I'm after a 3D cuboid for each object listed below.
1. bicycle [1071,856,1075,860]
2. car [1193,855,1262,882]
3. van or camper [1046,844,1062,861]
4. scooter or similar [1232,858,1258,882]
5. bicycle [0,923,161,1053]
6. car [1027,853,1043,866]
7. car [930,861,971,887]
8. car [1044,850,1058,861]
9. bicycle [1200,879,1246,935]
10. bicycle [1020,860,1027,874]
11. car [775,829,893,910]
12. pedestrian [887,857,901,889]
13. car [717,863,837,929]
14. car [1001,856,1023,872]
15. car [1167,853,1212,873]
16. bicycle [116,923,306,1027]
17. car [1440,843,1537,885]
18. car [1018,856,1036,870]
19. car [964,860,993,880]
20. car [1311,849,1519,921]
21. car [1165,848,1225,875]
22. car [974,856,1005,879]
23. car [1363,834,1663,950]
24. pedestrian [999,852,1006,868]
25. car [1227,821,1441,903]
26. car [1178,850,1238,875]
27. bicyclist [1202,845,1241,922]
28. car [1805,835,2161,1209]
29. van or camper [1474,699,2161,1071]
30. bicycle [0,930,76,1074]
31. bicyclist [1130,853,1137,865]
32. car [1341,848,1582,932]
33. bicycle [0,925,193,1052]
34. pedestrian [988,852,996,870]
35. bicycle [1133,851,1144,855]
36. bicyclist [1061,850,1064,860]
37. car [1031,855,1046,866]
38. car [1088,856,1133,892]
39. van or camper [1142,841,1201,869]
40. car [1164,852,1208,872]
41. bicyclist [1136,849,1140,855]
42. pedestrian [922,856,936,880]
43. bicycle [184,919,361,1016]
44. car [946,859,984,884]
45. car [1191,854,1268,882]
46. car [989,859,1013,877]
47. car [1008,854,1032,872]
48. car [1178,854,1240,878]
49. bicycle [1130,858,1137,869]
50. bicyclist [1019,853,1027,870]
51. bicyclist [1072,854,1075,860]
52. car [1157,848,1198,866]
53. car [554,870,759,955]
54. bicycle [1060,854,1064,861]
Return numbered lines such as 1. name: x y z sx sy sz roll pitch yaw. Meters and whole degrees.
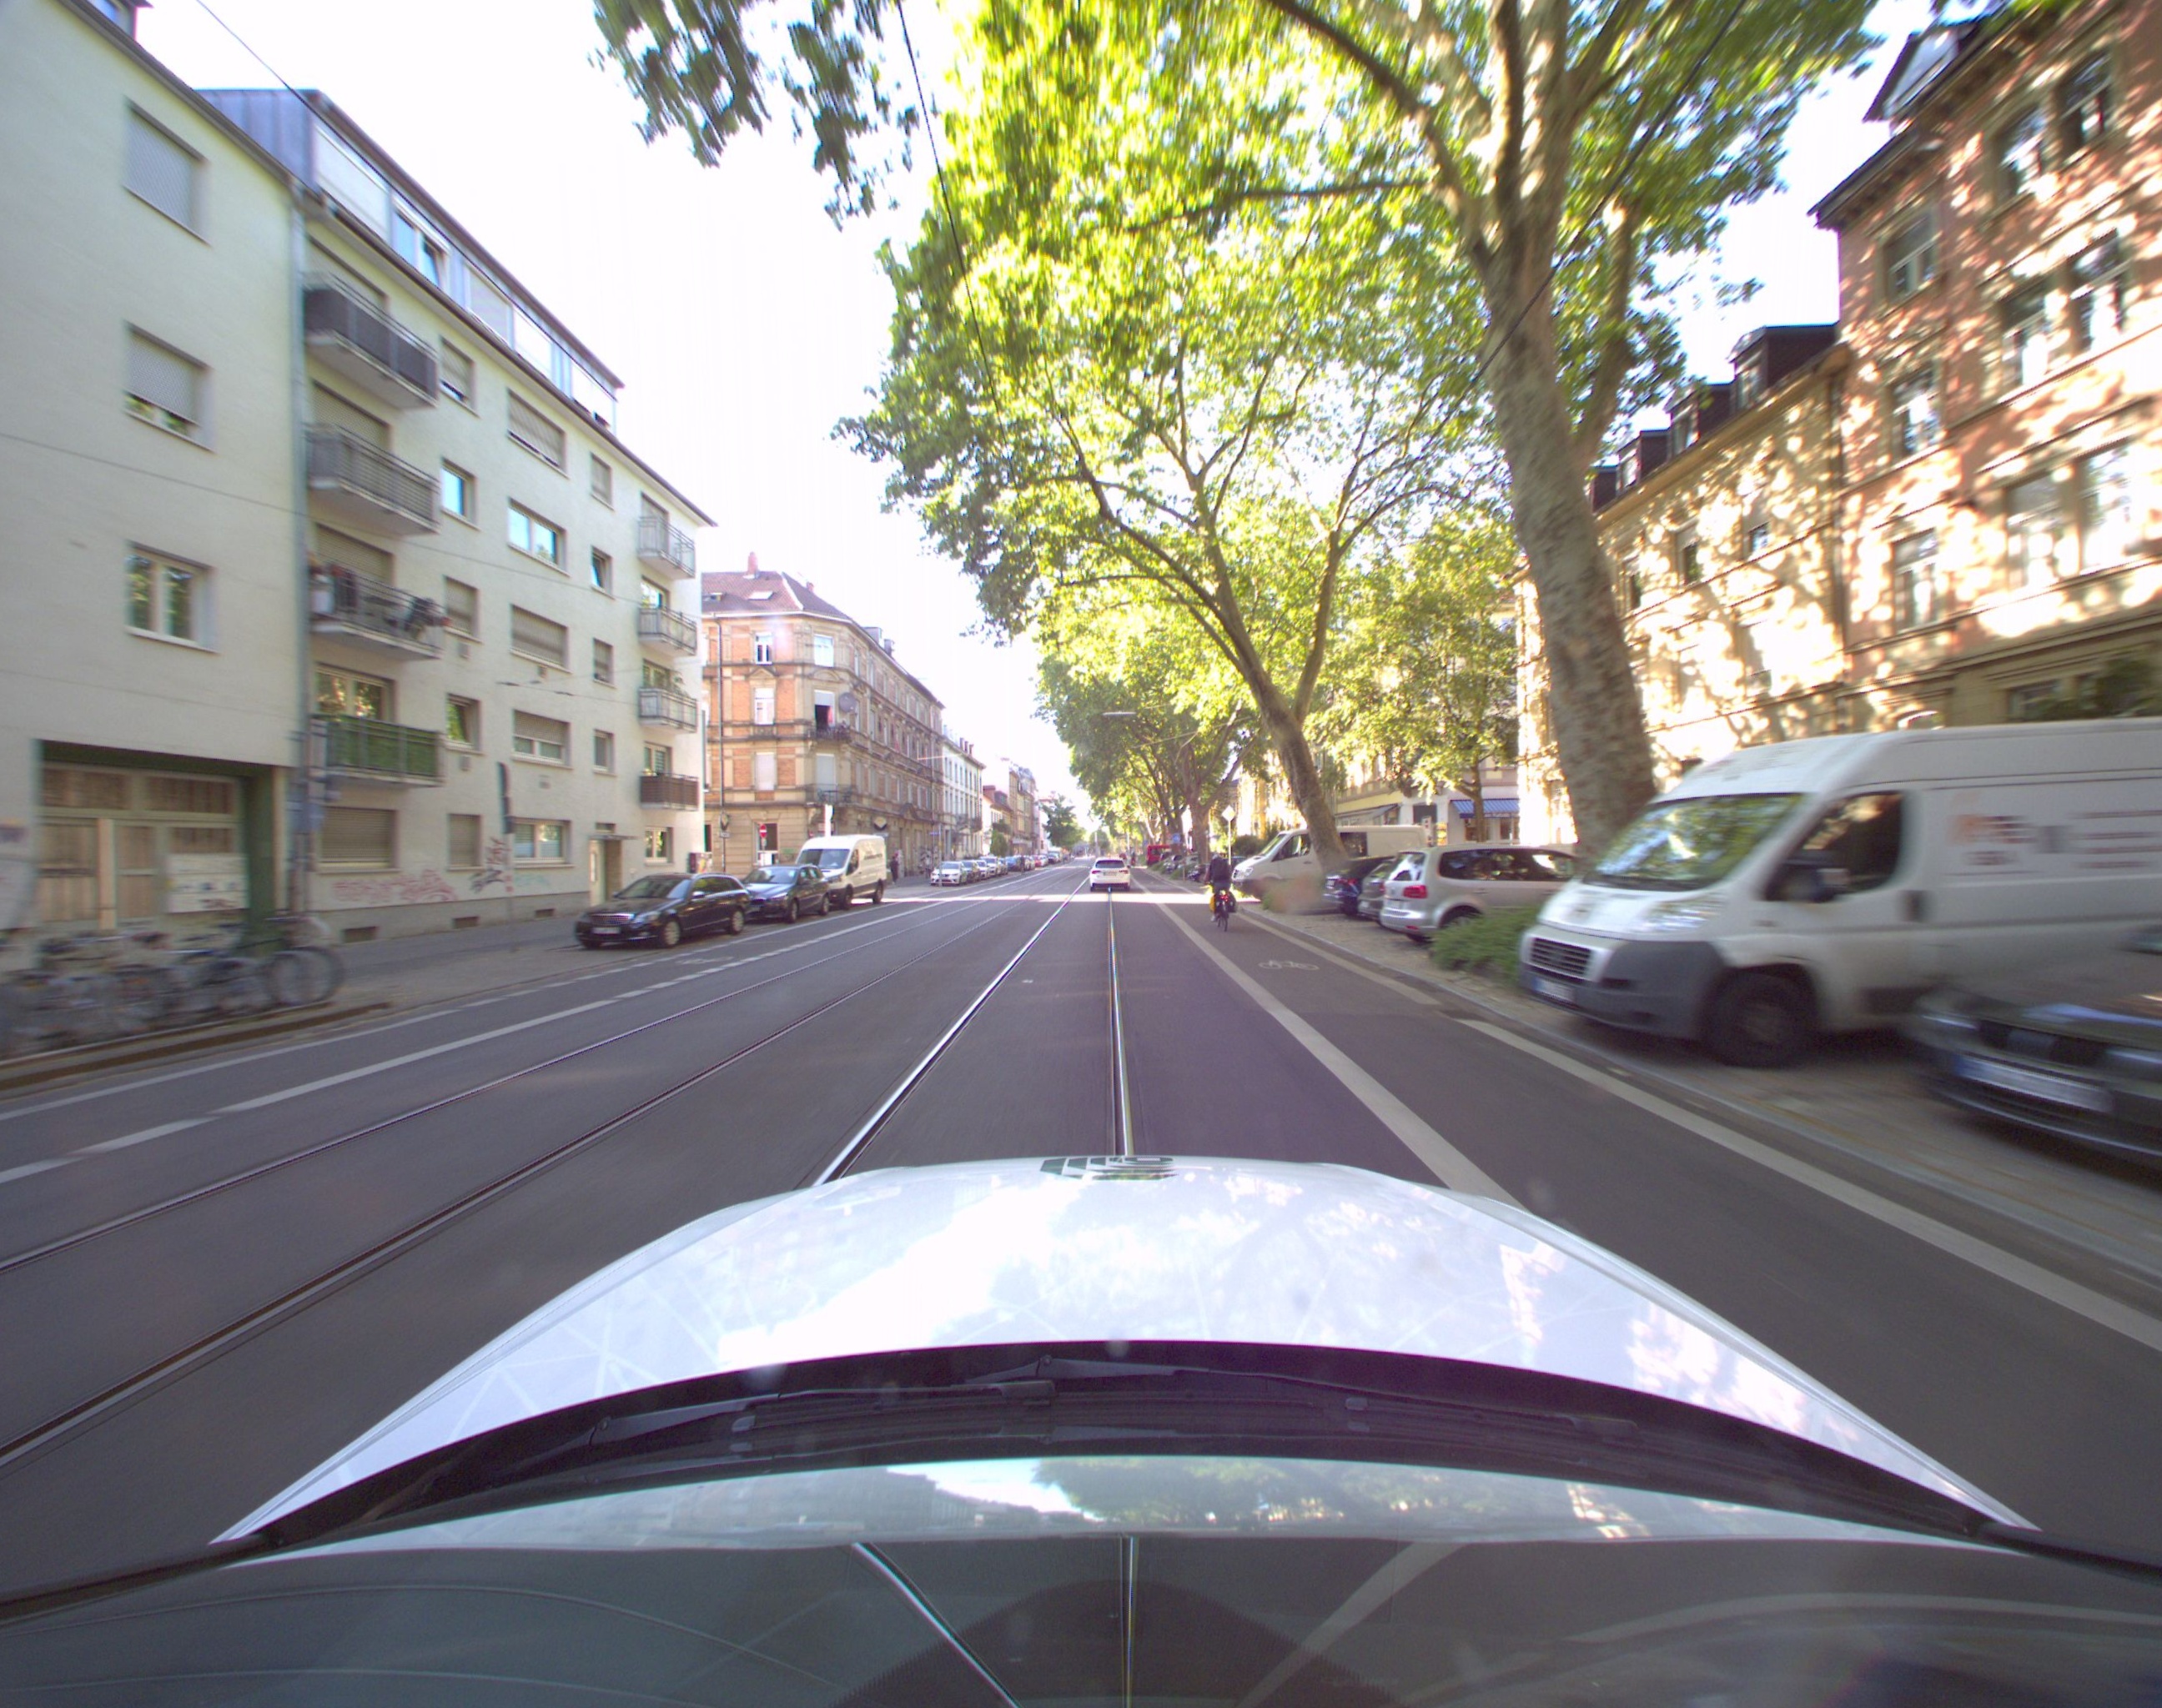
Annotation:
1. bicycle: -1.795 0.890 183.712 0.496 0.943 1.923 -3 0 4
2. car: 8.885 0.877 49.637 4.075 1.491 1.684 -1 0 6
3. van or camper: -4.988 -0.215 152.352 2.207 3.140 7.121 0 0 4
4. scooter or similar: 8.717 0.834 43.222 1.297 1.256 0.342 -1 0 15
5. bicycle: -9.690 1.234 7.668 1.808 1.119 0.425 0 0 8
6. car: -6.026 0.696 106.535 1.561 1.562 3.455 -1 0 6
7. car: -7.850 1.161 49.264 1.734 1.492 4.046 0 0 1
8. car: -4.873 0.221 133.950 1.957 1.781 4.938 1 0 0
9. bicycle: 2.948 1.070 17.129 0.593 1.004 2.512 2 0 2
10. bicycle: -5.098 1.149 72.100 0.419 1.150 2.232 -2 -1 1
11. car: -8.548 0.506 28.812 2.056 2.535 5.672 -1 0 4
12. pedestrian: -10.465 1.064 45.629 0.683 1.801 1.054 0 0 -7
13. car: -8.529 1.117 23.267 1.712 1.631 4.347 -1 0 1
14. car: -6.754 0.955 80.168 1.547 1.515 3.929 -2 0 4
15. car: 9.109 0.782 68.685 3.581 1.599 1.542 -1 -1 2
16. bicycle: -9.498 1.304 8.900 1.883 1.038 0.403 0 0 8
17. car: 14.808 0.351 29.797 1.727 1.455 3.568 0 0 -1
18. car: -6.298 1.039 95.977 1.680 1.477 4.260 0 0 2
19. car: -7.496 1.165 59.913 1.695 1.420 3.997 0 0 -2
20. car: 7.549 0.678 18.698 4.041 1.460 1.796 -2 0 0
21. car: 8.628 0.553 61.894 4.249 1.719 1.848 -4 0 -1
22. car: -7.300 1.030 65.132 1.779 1.723 4.721 0 0 2
23. car: 6.907 0.581 13.320 3.943 1.655 1.795 -2 -1 -1
24. pedestrian: -8.735 0.645 90.775 0.757 1.821 0.830 -1 0 -1
25. car: 7.658 0.234 25.145 5.966 2.282 2.008 -1 1 3
26. car: 9.164 0.616 58.845 4.015 1.643 1.681 -2 0 0
27. bicyclist: 2.964 0.614 17.261 0.612 1.552 0.936 3 0 2
28. car: 6.684 0.655 4.150 4.373 1.552 1.783 -1 0 1
29. van or camper: 6.784 0.189 6.732 6.011 2.491 2.108 -2 0 1
30. bicycle: -9.718 1.233 6.982 1.957 1.119 0.425 0 0 8
31. bicyclist: 5.639 0.524 87.335 0.676 1.339 0.525 0 0 2
32. car: 7.429 0.678 16.197 3.940 1.478 1.797 -2 0 1
33. bicycle: -9.661 1.284 7.933 1.779 1.119 0.425 0 0 8
34. pedestrian: -9.926 0.813 90.790 0.757 2.013 0.830 -1 0 0
35. bicycle: 14.468 -0.231 204.109 2.748 0.999 0.595 0 0 16
36. bicyclist: -2.953 0.190 129.728 0.471 1.636 0.800 -1 0 3
37. car: -5.879 0.913 112.062 1.821 1.502 4.688 0 0 0
38. car: 1.237 0.817 35.562 1.836 1.480 3.838 0 0 0
39. van or camper: 9.450 0.104 85.466 5.796 2.519 2.287 -3 1 0
40. car: 9.141 0.700 71.185 3.581 1.517 1.694 -3 0 2
41. bicyclist: 14.271 -0.525 204.194 0.731 1.589 0.589 -2 0 14
42. pedestrian: -10.961 1.011 58.729 0.656 1.665 0.773 0 0 34
43. bicycle: -9.439 1.305 9.518 1.883 1.038 0.403 0 0 8
44. car: -7.742 1.126 54.673 1.734 1.562 4.787 0 0 1
45. car: 8.512 0.780 46.902 4.083 1.491 1.830 -1 0 -1
46. car: -6.920 1.172 70.663 1.657 1.521 4.064 0 0 0
47. car: -6.345 0.907 85.525 1.849 1.703 4.766 -2 0 3
48. car: 8.797 0.796 56.244 4.014 1.480 1.681 -2 0 0
49. bicycle: 5.656 1.004 87.468 0.677 1.155 2.966 0 0 2
50. bicyclist: -5.157 0.658 72.123 0.580 1.482 0.807 -2 0 1
51. bicyclist: -1.744 0.657 183.492 0.635 1.503 1.070 -2 0 3
52. car: 9.573 0.306 80.862 3.807 1.649 1.766 -3 -1 -1
53. car: -8.805 1.133 17.428 1.711 1.456 4.576 -1 0 4
54. bicycle: -2.953 0.504 129.635 0.479 1.086 1.847 -1 0 3
